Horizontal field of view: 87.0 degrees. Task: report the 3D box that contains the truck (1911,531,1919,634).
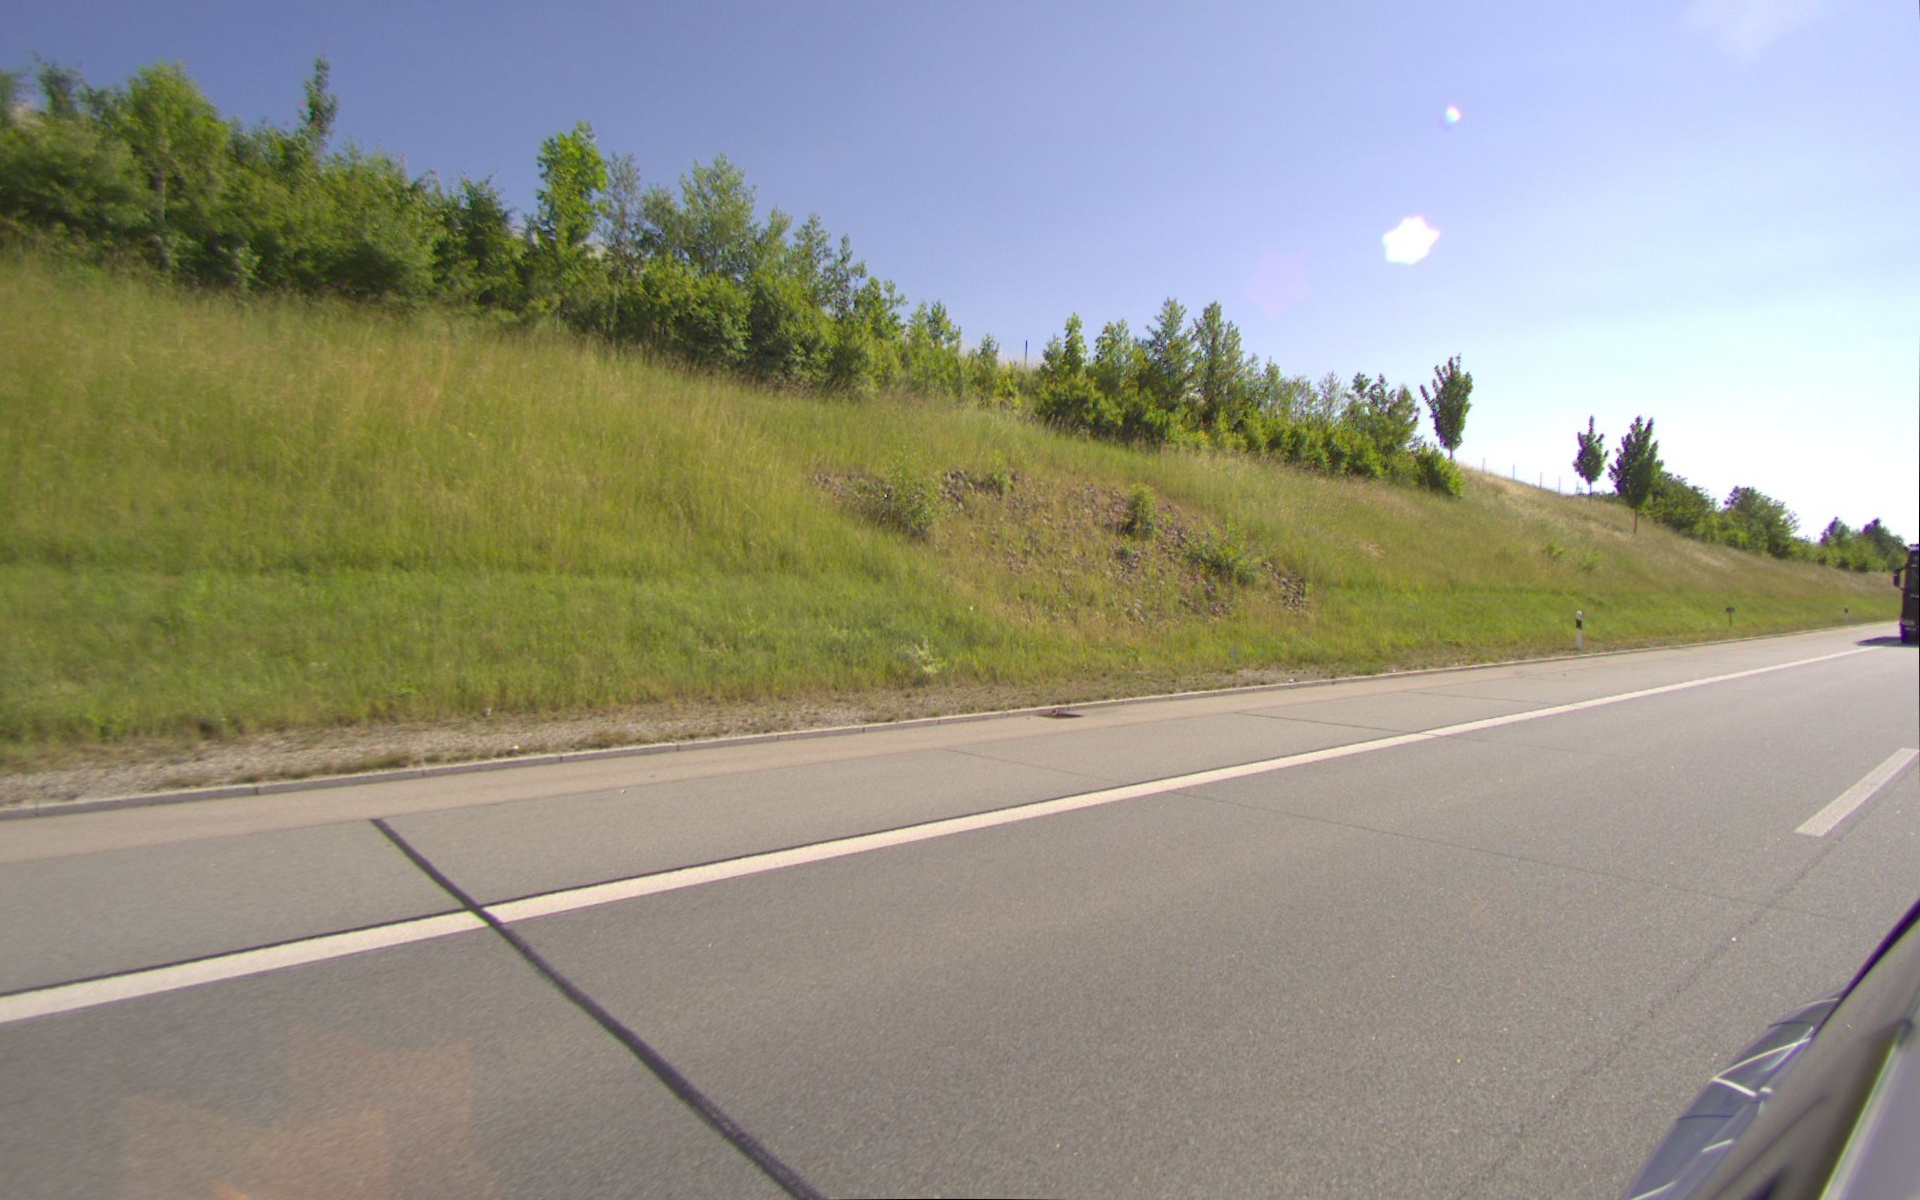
[{"bbox_3d":[41.559,-0.617,41.180,13.164,3.866,2.622,0,0,-40],"label":"truck"}]
